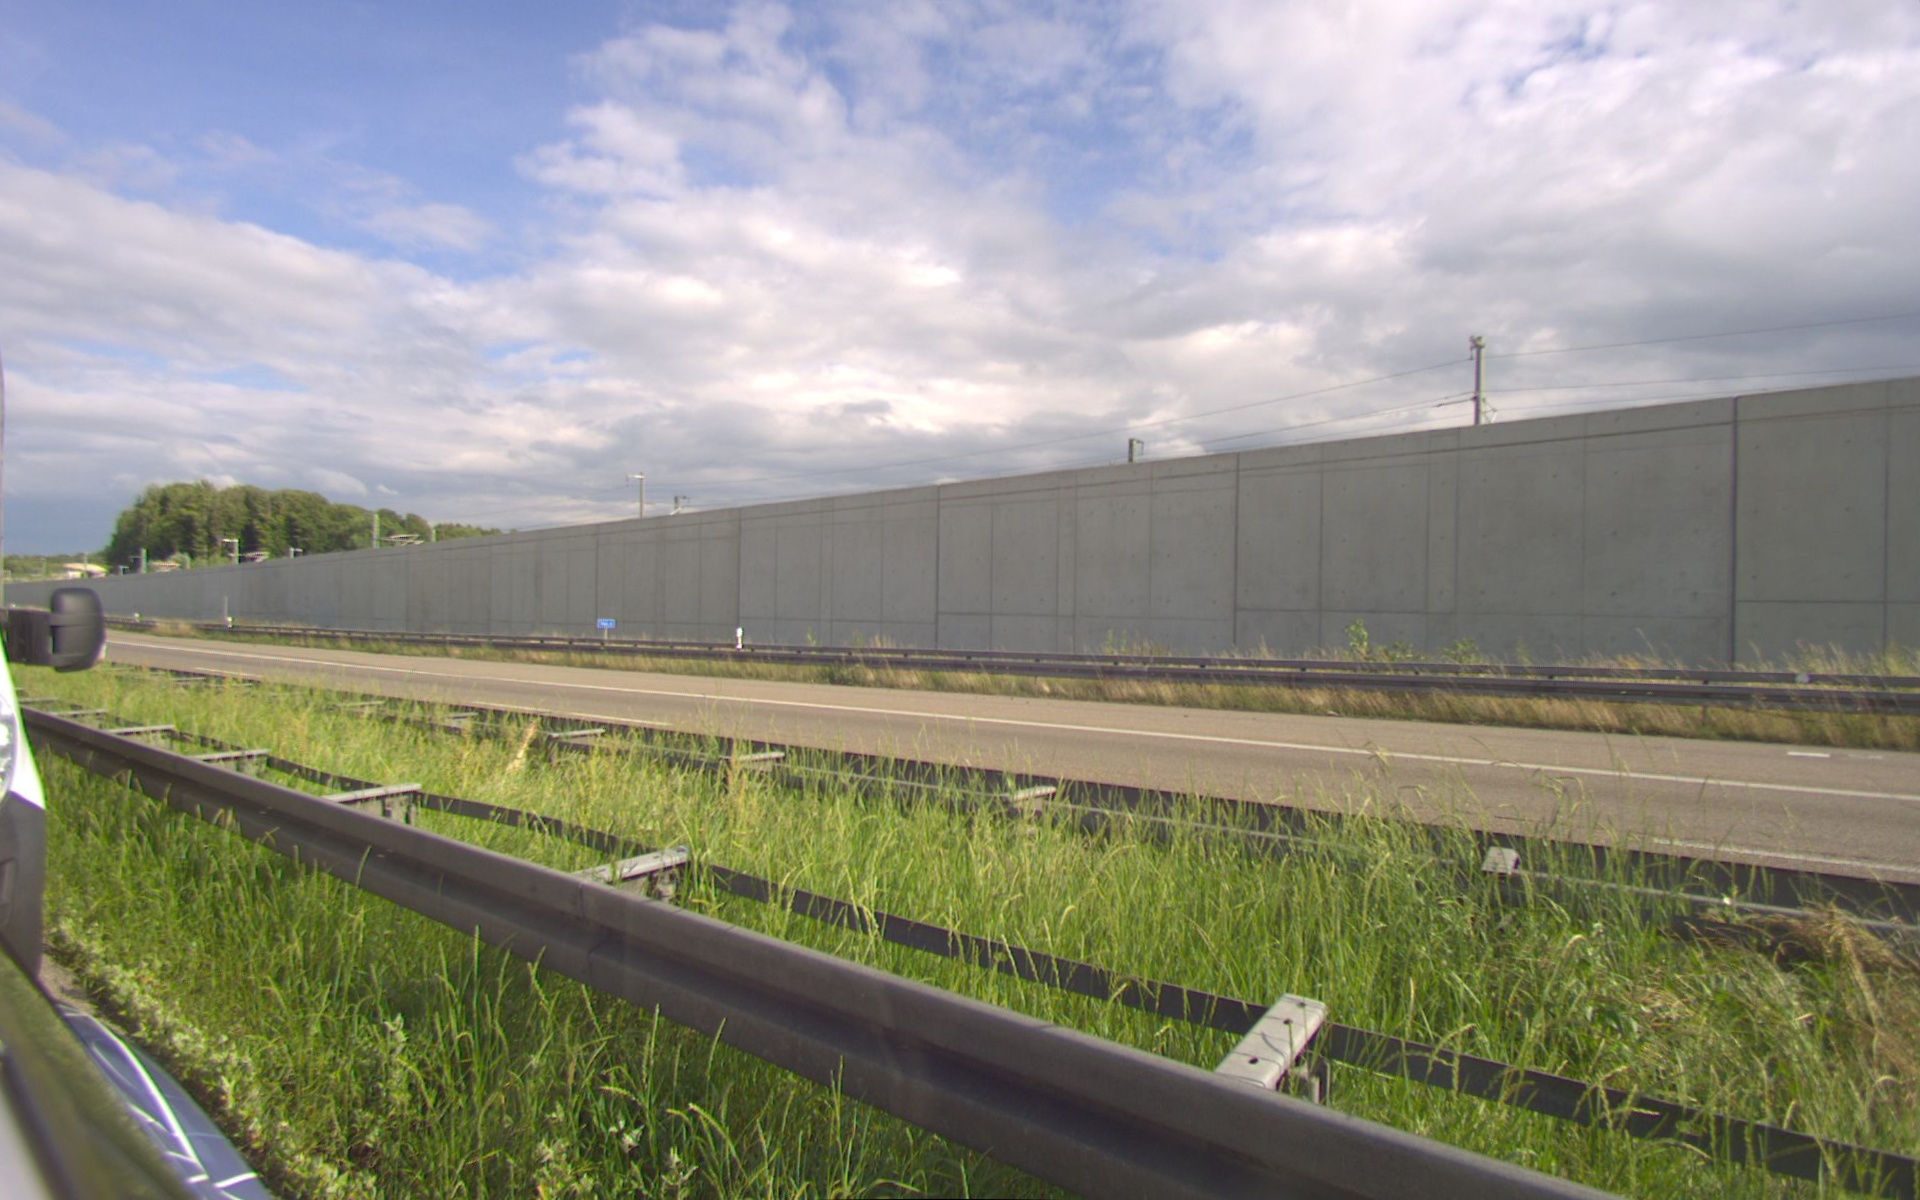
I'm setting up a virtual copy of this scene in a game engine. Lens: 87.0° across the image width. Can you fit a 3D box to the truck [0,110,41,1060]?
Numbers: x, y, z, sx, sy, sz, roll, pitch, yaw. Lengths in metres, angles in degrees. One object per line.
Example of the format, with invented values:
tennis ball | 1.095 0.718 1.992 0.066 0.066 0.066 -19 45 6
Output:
truck | -6.686 -0.017 5.206 7.800 3.129 2.033 -1 0 41
